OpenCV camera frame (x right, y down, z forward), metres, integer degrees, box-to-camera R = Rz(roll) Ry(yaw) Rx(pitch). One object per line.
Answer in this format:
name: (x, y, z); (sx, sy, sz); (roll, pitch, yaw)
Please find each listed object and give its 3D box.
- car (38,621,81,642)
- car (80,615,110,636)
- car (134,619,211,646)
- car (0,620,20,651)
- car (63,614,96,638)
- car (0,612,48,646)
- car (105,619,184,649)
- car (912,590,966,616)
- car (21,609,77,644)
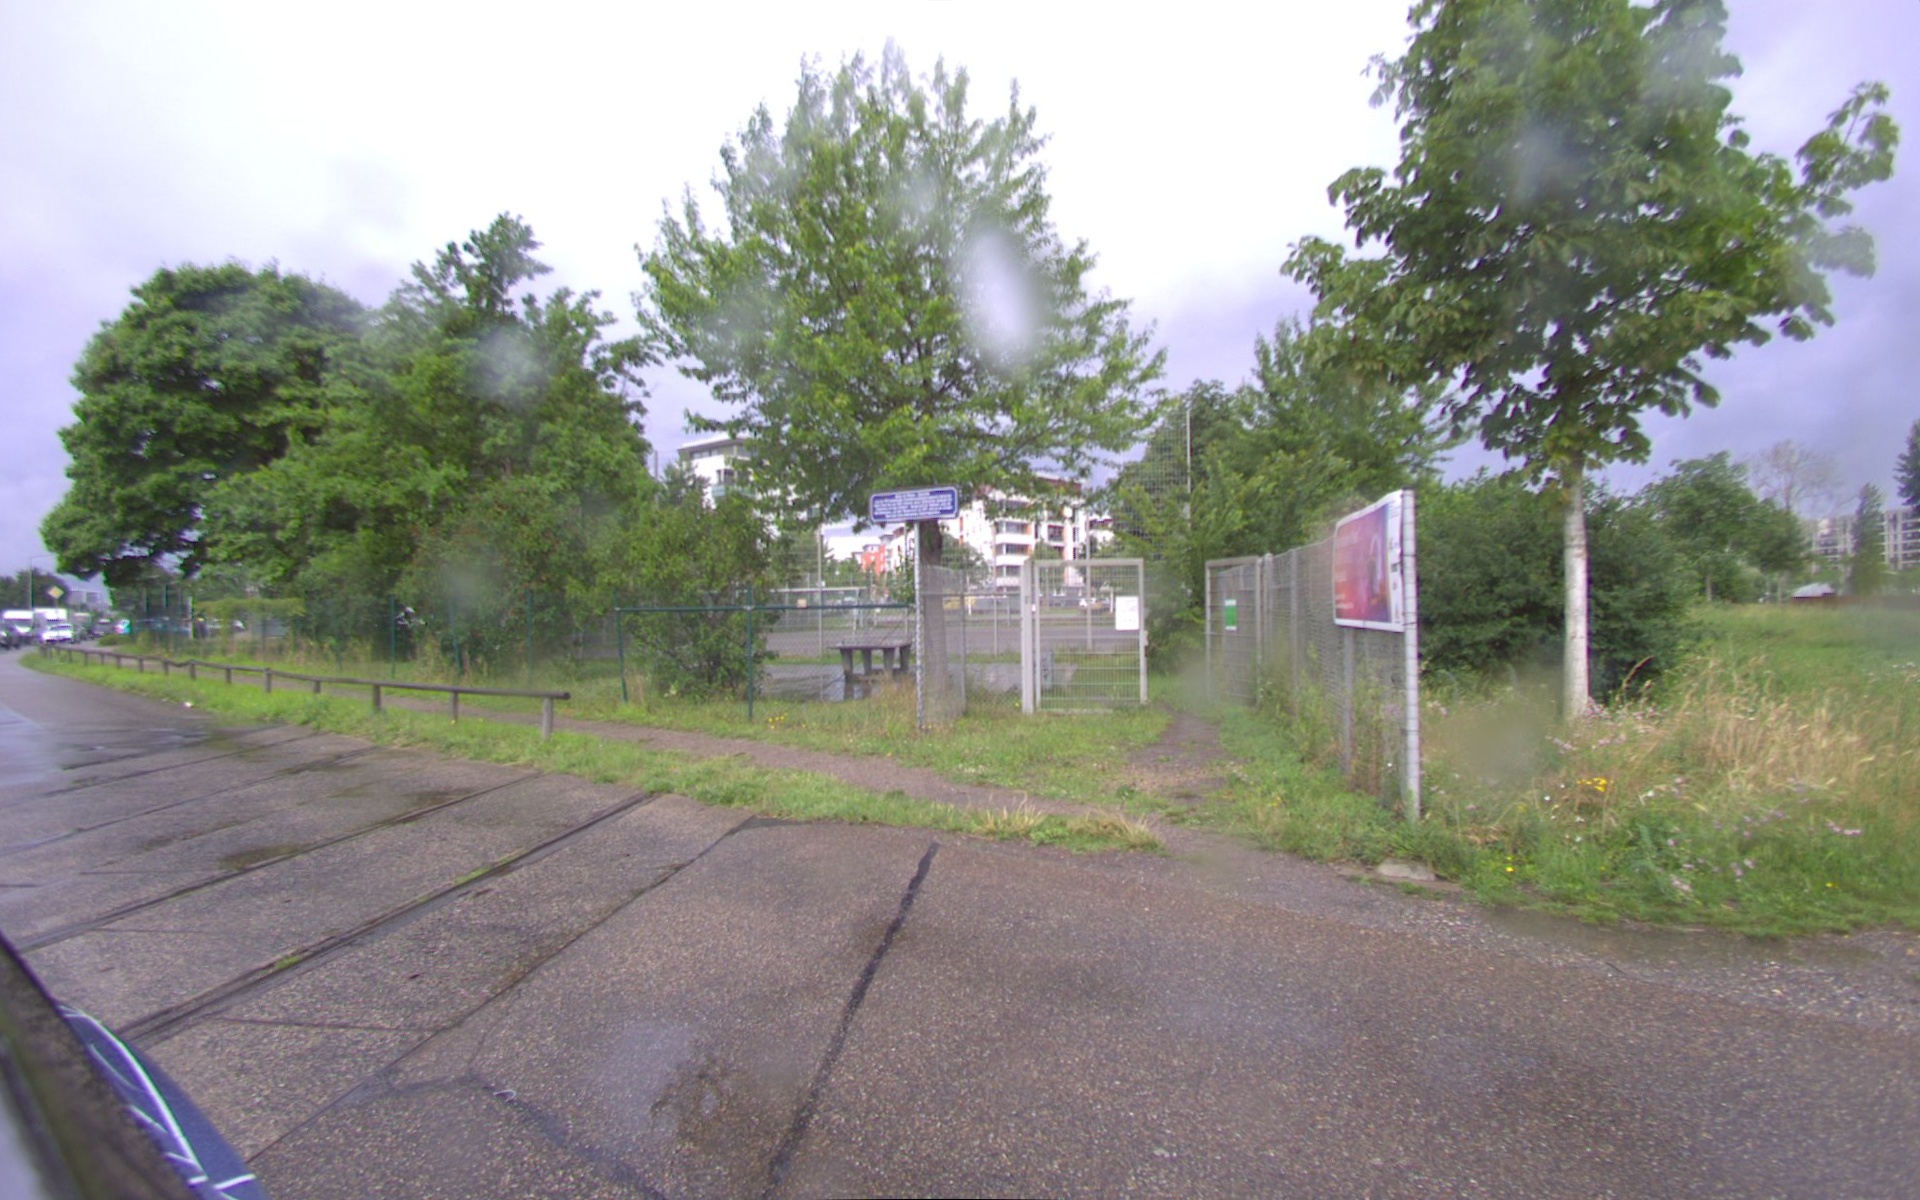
car: (-68.329, 2.394, 76.866); (1.812, 1.530, 4.369); (-1, -1, -34)
car: (-96.296, 2.807, 112.664); (1.967, 2.258, 4.575); (-1, -1, -34)
car: (-55.672, 2.298, 71.667); (4.117, 1.561, 1.864); (-4, 2, -35)
car: (-55.784, 2.046, 58.153); (1.978, 1.718, 4.340); (-2, 0, -35)
car: (-89.493, 2.632, 102.879); (1.967, 2.258, 4.575); (-1, -1, -34)
car: (-73.867, 2.309, 79.608); (2.040, 2.548, 6.675); (1, -2, -32)
car: (-53.705, 2.216, 66.724); (3.759, 1.645, 1.760); (-4, 2, -32)
car: (-2.315, 0.294, 113.068); (1.967, 2.633, 6.547); (-1, 2, 43)
car: (-80.251, 2.326, 89.263); (2.437, 2.978, 6.906); (0, -2, -31)
